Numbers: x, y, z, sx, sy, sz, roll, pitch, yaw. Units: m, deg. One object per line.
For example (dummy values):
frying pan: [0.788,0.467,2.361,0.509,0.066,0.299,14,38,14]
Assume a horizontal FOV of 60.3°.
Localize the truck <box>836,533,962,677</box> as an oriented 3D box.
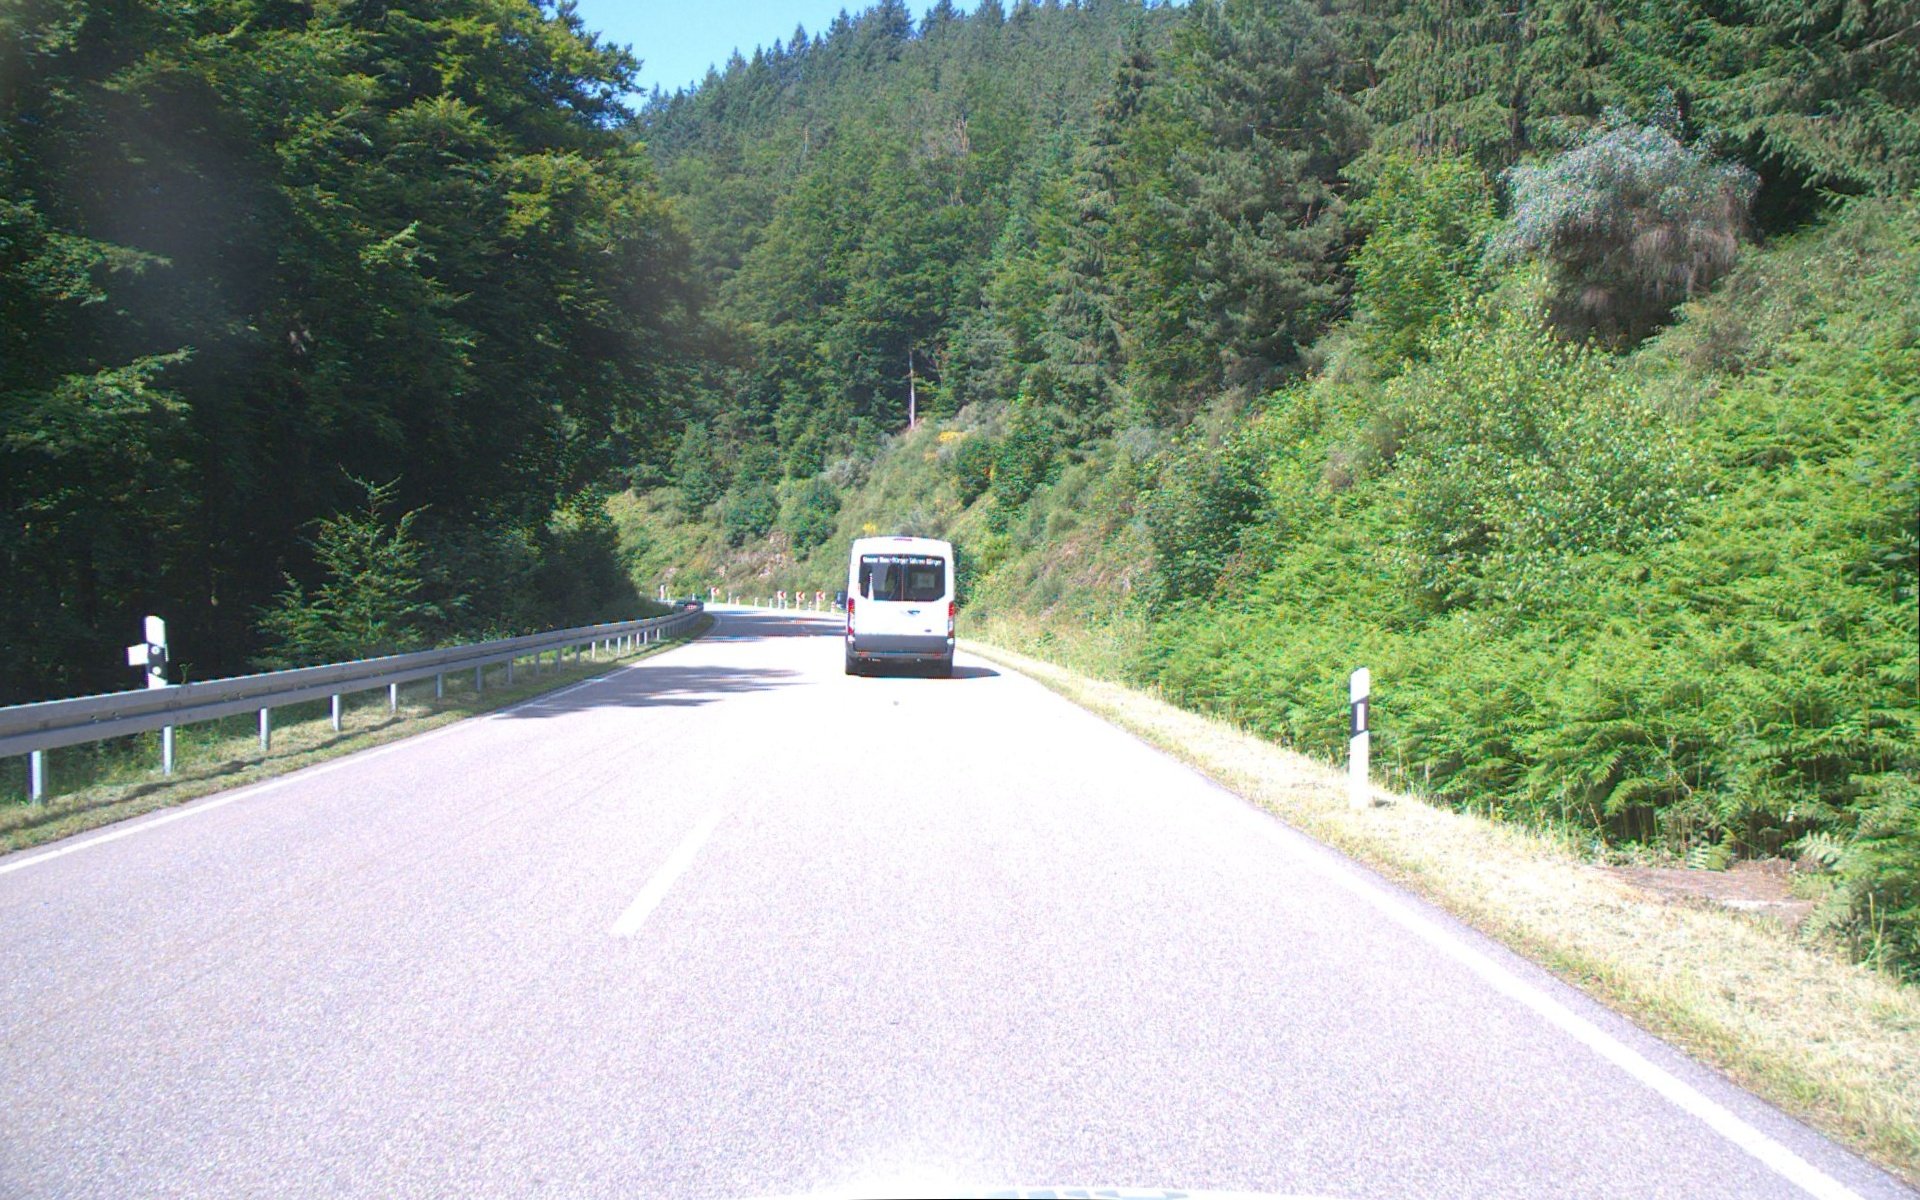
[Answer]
truck: [-1.251,0.080,31.583,2.043,2.502,4.869,1,0,-6]
